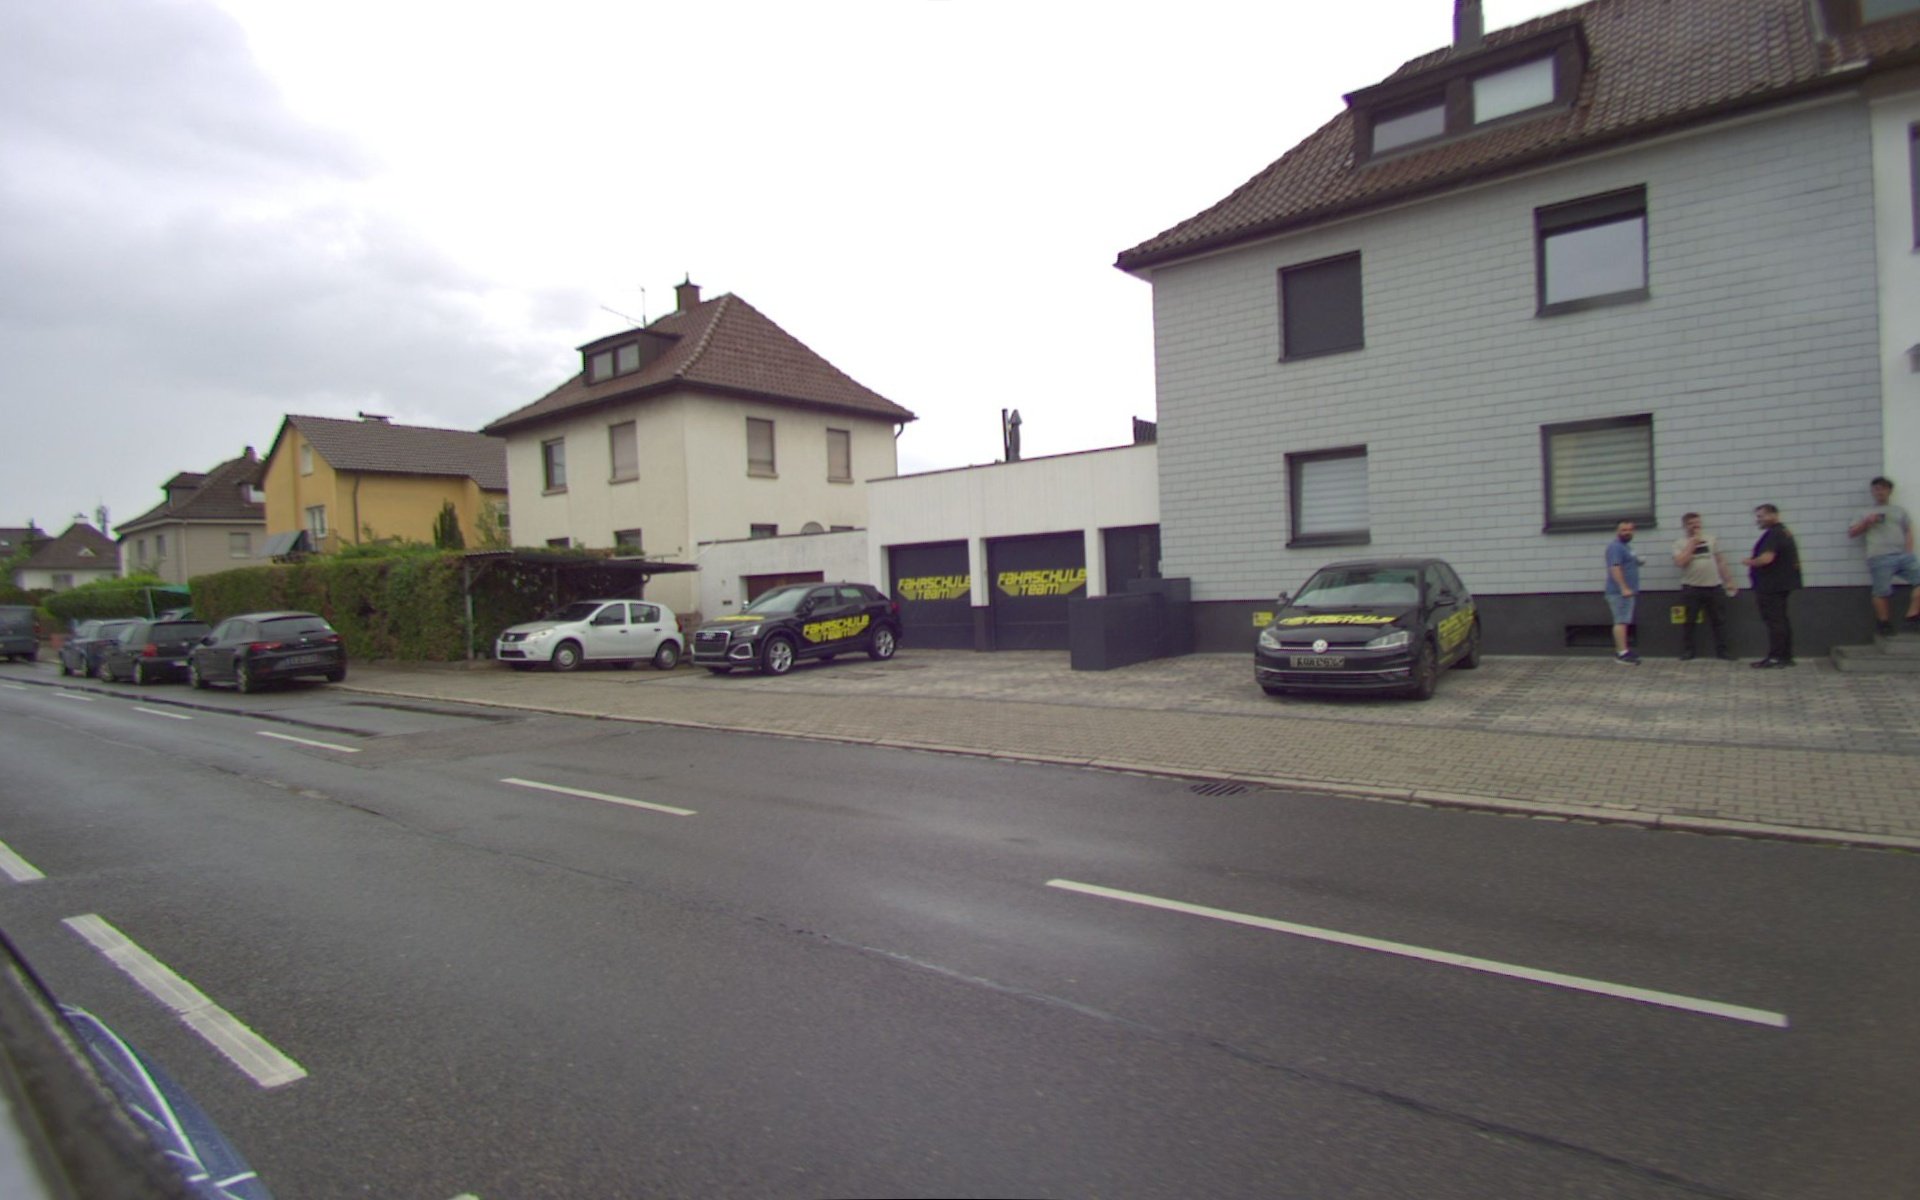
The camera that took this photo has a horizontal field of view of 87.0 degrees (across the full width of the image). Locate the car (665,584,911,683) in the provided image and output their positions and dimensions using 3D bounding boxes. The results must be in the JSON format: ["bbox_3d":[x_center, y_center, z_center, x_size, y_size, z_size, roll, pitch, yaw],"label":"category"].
[{"bbox_3d":[-2.965,0.525,18.119,1.882,1.430,4.058,-1,2,39],"label":"car"}]

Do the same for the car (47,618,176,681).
[{"bbox_3d":[-22.553,1.267,26.857,3.993,1.525,1.788,-1,-1,37],"label":"car"}]

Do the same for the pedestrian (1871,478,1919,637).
[{"bbox_3d":[10.338,-0.471,11.000,0.575,1.682,0.577,-2,3,38],"label":"pedestrian"}]

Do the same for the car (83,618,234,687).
[{"bbox_3d":[-18.569,1.156,23.402,3.993,1.426,1.788,-1,-1,37],"label":"car"}]

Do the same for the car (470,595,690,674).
[{"bbox_3d":[-7.903,0.797,21.417,1.835,1.495,4.066,-2,-4,32],"label":"car"}]

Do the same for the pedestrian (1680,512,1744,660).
[{"bbox_3d":[9.008,-0.174,12.124,0.561,1.720,0.581,-2,3,38],"label":"pedestrian"}]

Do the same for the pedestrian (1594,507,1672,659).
[{"bbox_3d":[8.100,-0.201,12.182,0.689,1.765,0.441,-1,3,41],"label":"pedestrian"}]

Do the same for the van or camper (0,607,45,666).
[{"bbox_3d":[-34.905,1.284,36.403,5.128,2.029,2.163,-1,0,39],"label":"van or camper"}]

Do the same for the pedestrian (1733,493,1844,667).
[{"bbox_3d":[8.949,-0.218,10.938,0.642,1.800,0.649,-4,1,-27],"label":"pedestrian"}]

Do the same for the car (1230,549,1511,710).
[{"bbox_3d":[4.869,0.218,11.687,1.882,1.430,3.948,-1,3,40],"label":"car"}]

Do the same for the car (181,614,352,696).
[{"bbox_3d":[-13.723,1.032,19.962,3.997,1.426,1.786,-1,-1,40],"label":"car"}]
